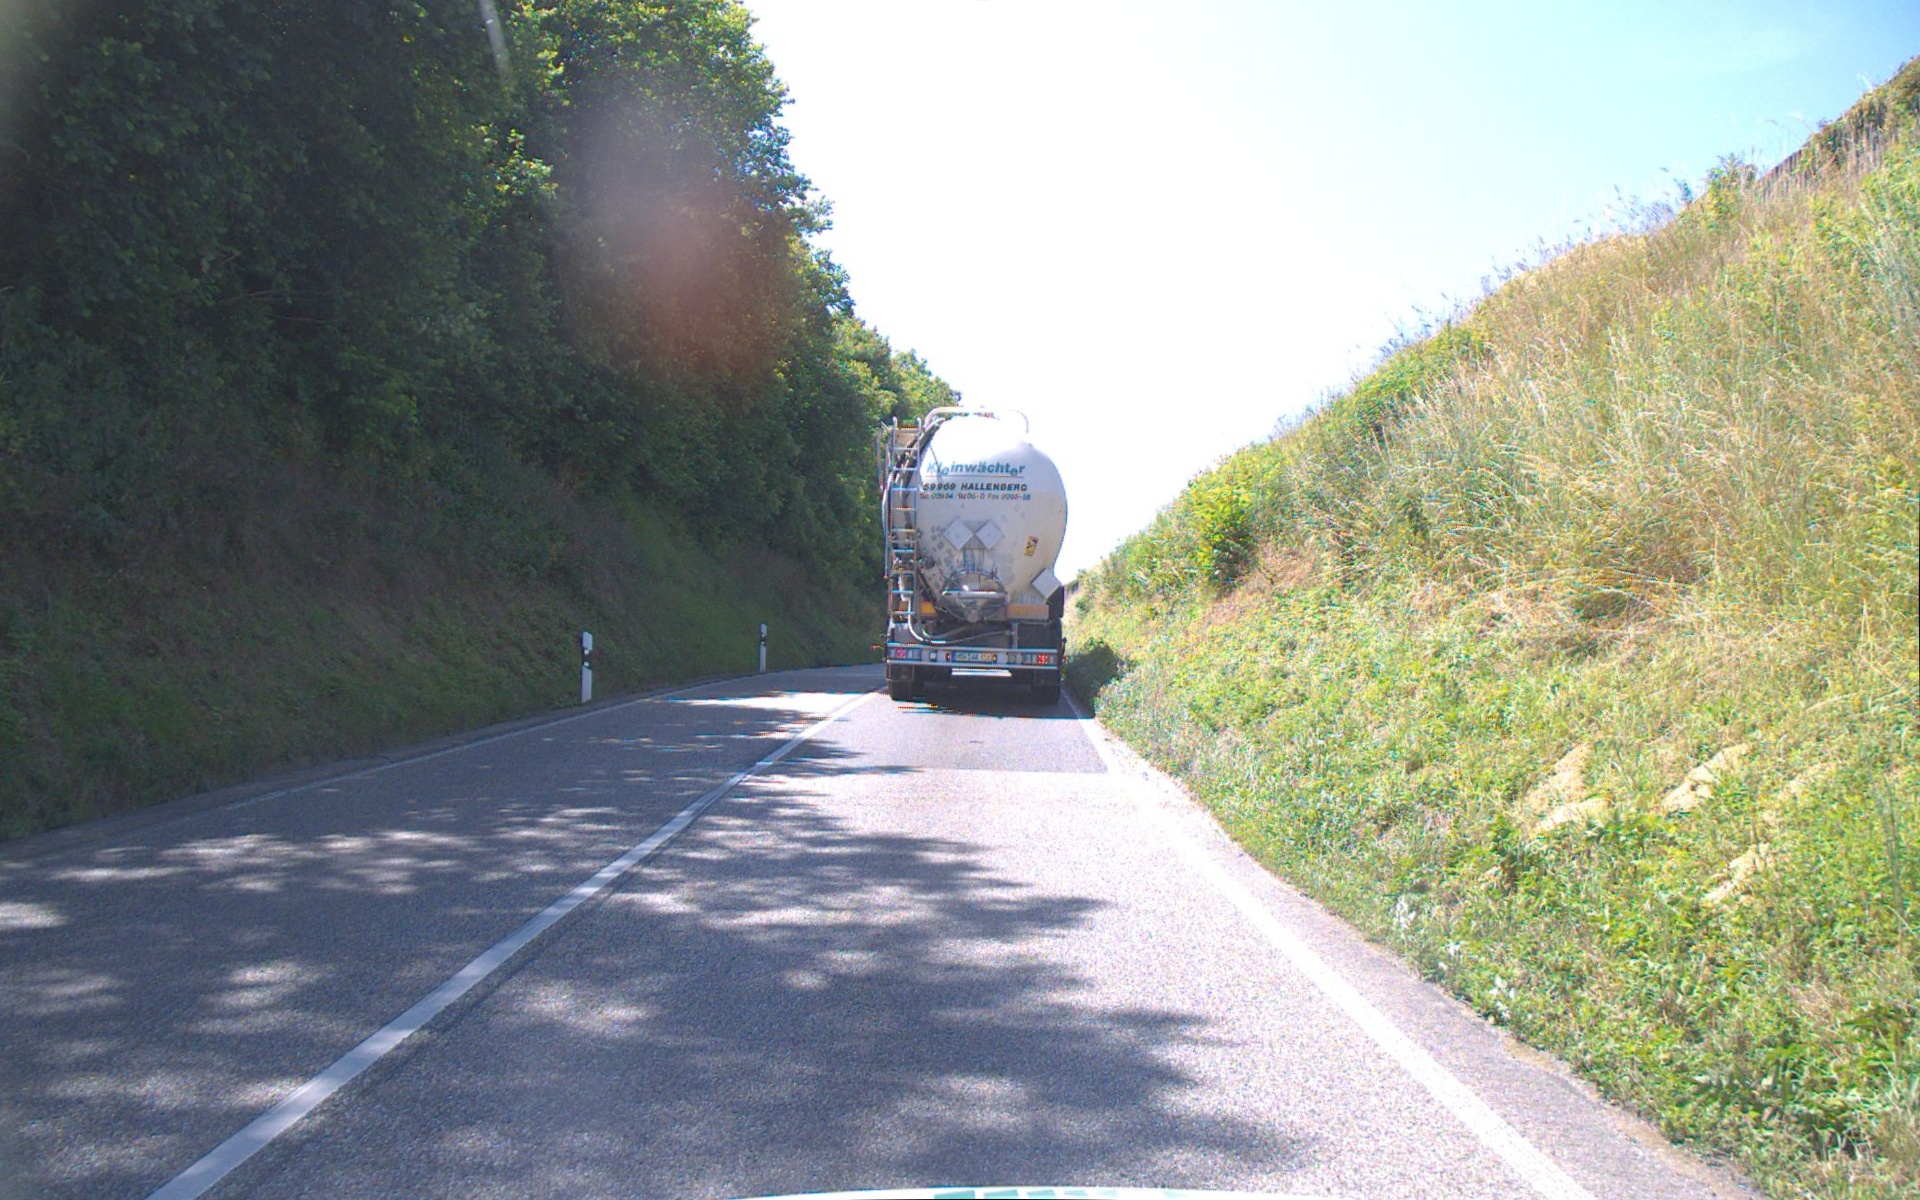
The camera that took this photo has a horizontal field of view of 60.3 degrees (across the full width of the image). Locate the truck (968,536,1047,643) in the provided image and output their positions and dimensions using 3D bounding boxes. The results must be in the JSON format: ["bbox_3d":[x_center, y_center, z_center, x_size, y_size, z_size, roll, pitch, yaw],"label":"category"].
[{"bbox_3d":[2.145,-0.406,76.326,3.125,4.384,11.801,3,0,1],"label":"truck"}]

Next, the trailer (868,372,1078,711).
[{"bbox_3d":[0.224,-0.713,27.005,2.606,4.262,11.904,1,0,1],"label":"trailer"}]

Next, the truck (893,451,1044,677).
[{"bbox_3d":[0.289,-0.544,32.896,2.670,3.999,7.264,0,-2,2],"label":"truck"}]
